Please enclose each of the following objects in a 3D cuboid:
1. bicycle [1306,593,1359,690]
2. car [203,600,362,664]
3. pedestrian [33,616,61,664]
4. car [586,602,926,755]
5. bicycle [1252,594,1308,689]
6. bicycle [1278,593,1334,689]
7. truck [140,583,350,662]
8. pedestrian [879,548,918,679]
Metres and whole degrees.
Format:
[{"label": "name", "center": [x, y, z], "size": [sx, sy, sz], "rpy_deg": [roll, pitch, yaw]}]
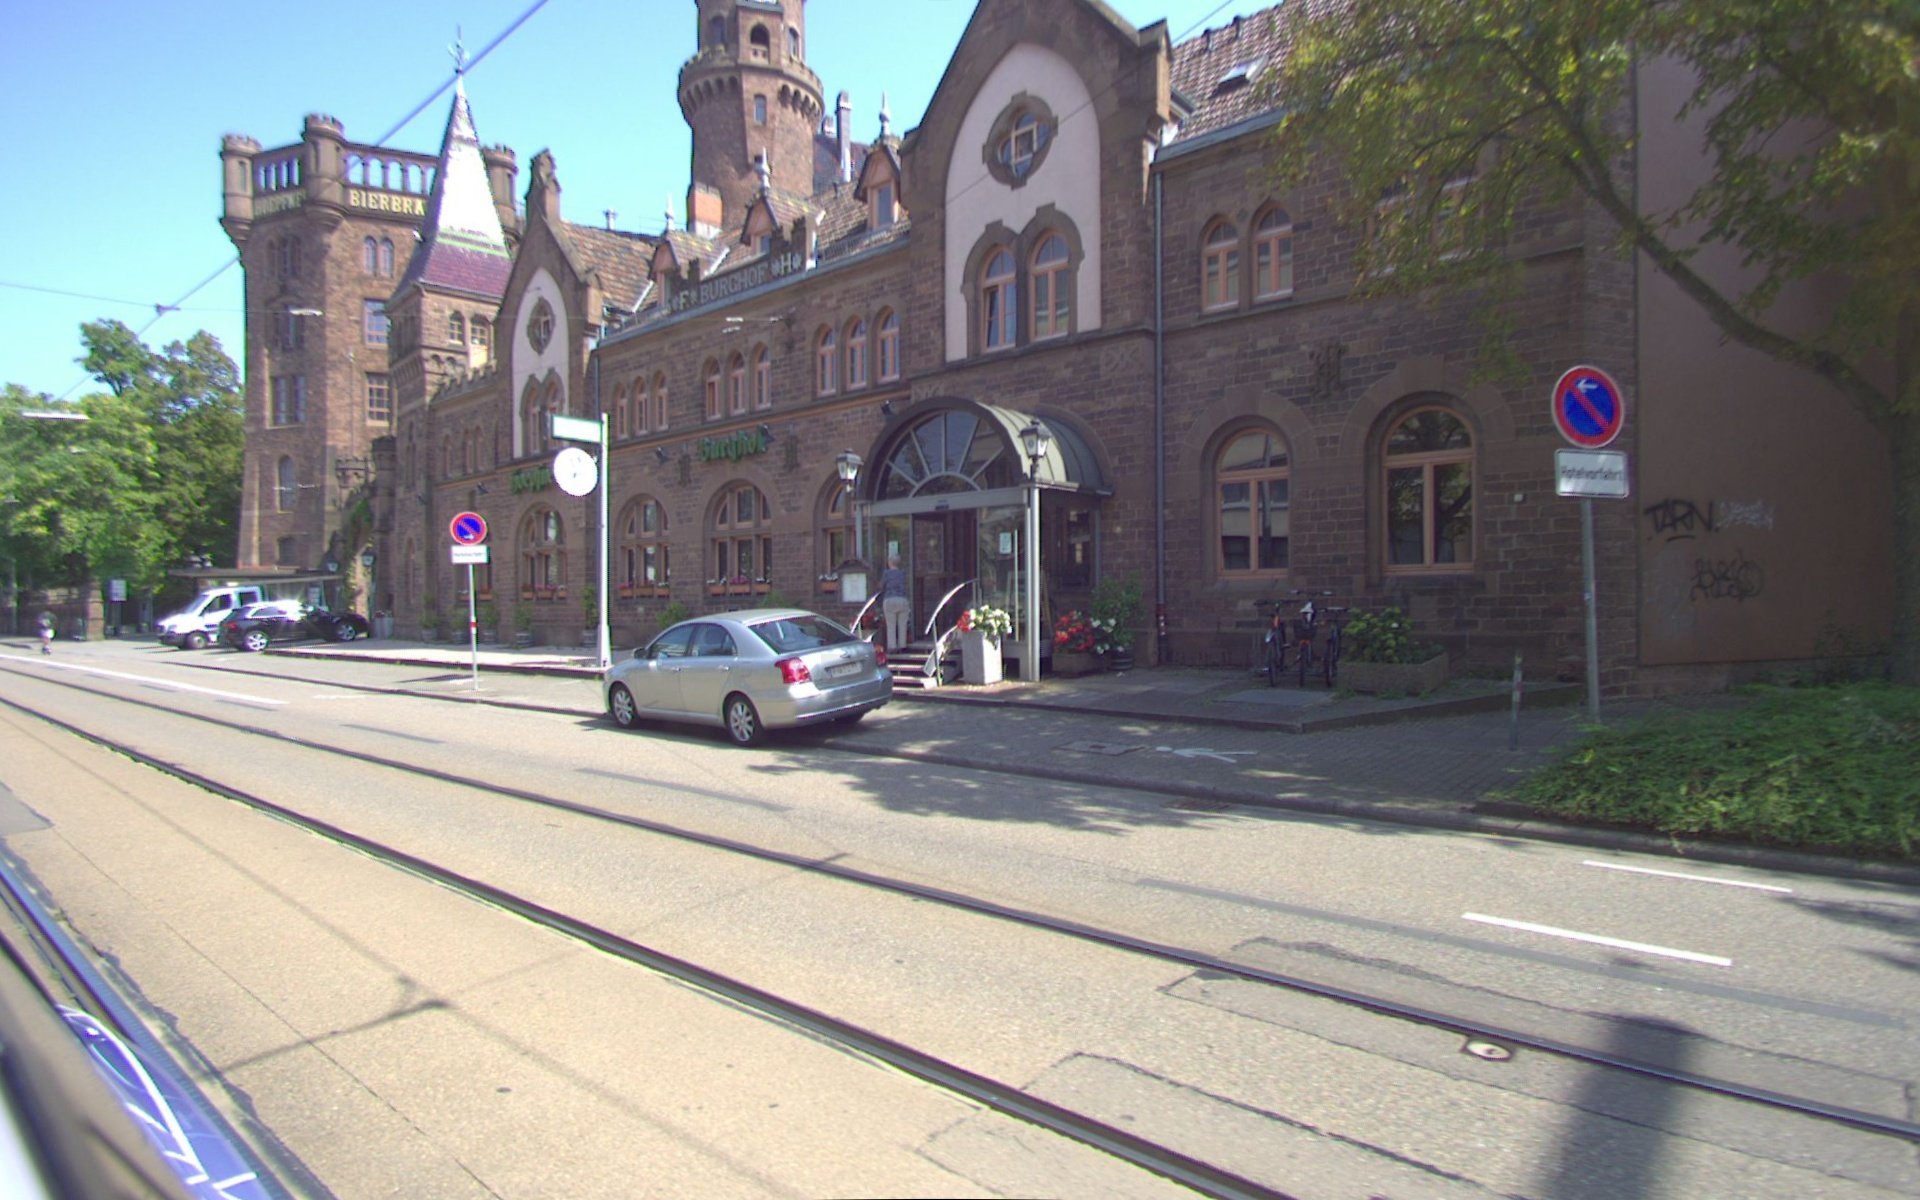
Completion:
[{"label": "bicycle", "center": [4.819, 0.506, 13.051], "size": [0.376, 1.069, 1.435], "rpy_deg": [-1, 4, 30]}, {"label": "car", "center": [-24.441, 1.104, 36.634], "size": [2.000, 1.810, 4.351], "rpy_deg": [-1, 4, 43]}, {"label": "pedestrian", "center": [-36.048, 1.575, 39.950], "size": [0.828, 1.861, 0.727], "rpy_deg": [-1, 0, 41]}, {"label": "car", "center": [-2.711, 0.850, 12.767], "size": [4.514, 1.513, 1.914], "rpy_deg": [-1, 2, 43]}, {"label": "bicycle", "center": [4.249, 0.518, 13.385], "size": [0.376, 1.069, 1.435], "rpy_deg": [-1, 4, 30]}, {"label": "bicycle", "center": [4.537, 0.512, 13.221], "size": [0.376, 1.069, 1.435], "rpy_deg": [-1, 4, 30]}, {"label": "truck", "center": [-28.765, 0.817, 40.942], "size": [2.316, 2.543, 6.430], "rpy_deg": [-1, 4, 41]}, {"label": "pedestrian", "center": [-0.953, 0.210, 15.691], "size": [0.499, 1.995, 0.518], "rpy_deg": [-1, 0, 7]}]
